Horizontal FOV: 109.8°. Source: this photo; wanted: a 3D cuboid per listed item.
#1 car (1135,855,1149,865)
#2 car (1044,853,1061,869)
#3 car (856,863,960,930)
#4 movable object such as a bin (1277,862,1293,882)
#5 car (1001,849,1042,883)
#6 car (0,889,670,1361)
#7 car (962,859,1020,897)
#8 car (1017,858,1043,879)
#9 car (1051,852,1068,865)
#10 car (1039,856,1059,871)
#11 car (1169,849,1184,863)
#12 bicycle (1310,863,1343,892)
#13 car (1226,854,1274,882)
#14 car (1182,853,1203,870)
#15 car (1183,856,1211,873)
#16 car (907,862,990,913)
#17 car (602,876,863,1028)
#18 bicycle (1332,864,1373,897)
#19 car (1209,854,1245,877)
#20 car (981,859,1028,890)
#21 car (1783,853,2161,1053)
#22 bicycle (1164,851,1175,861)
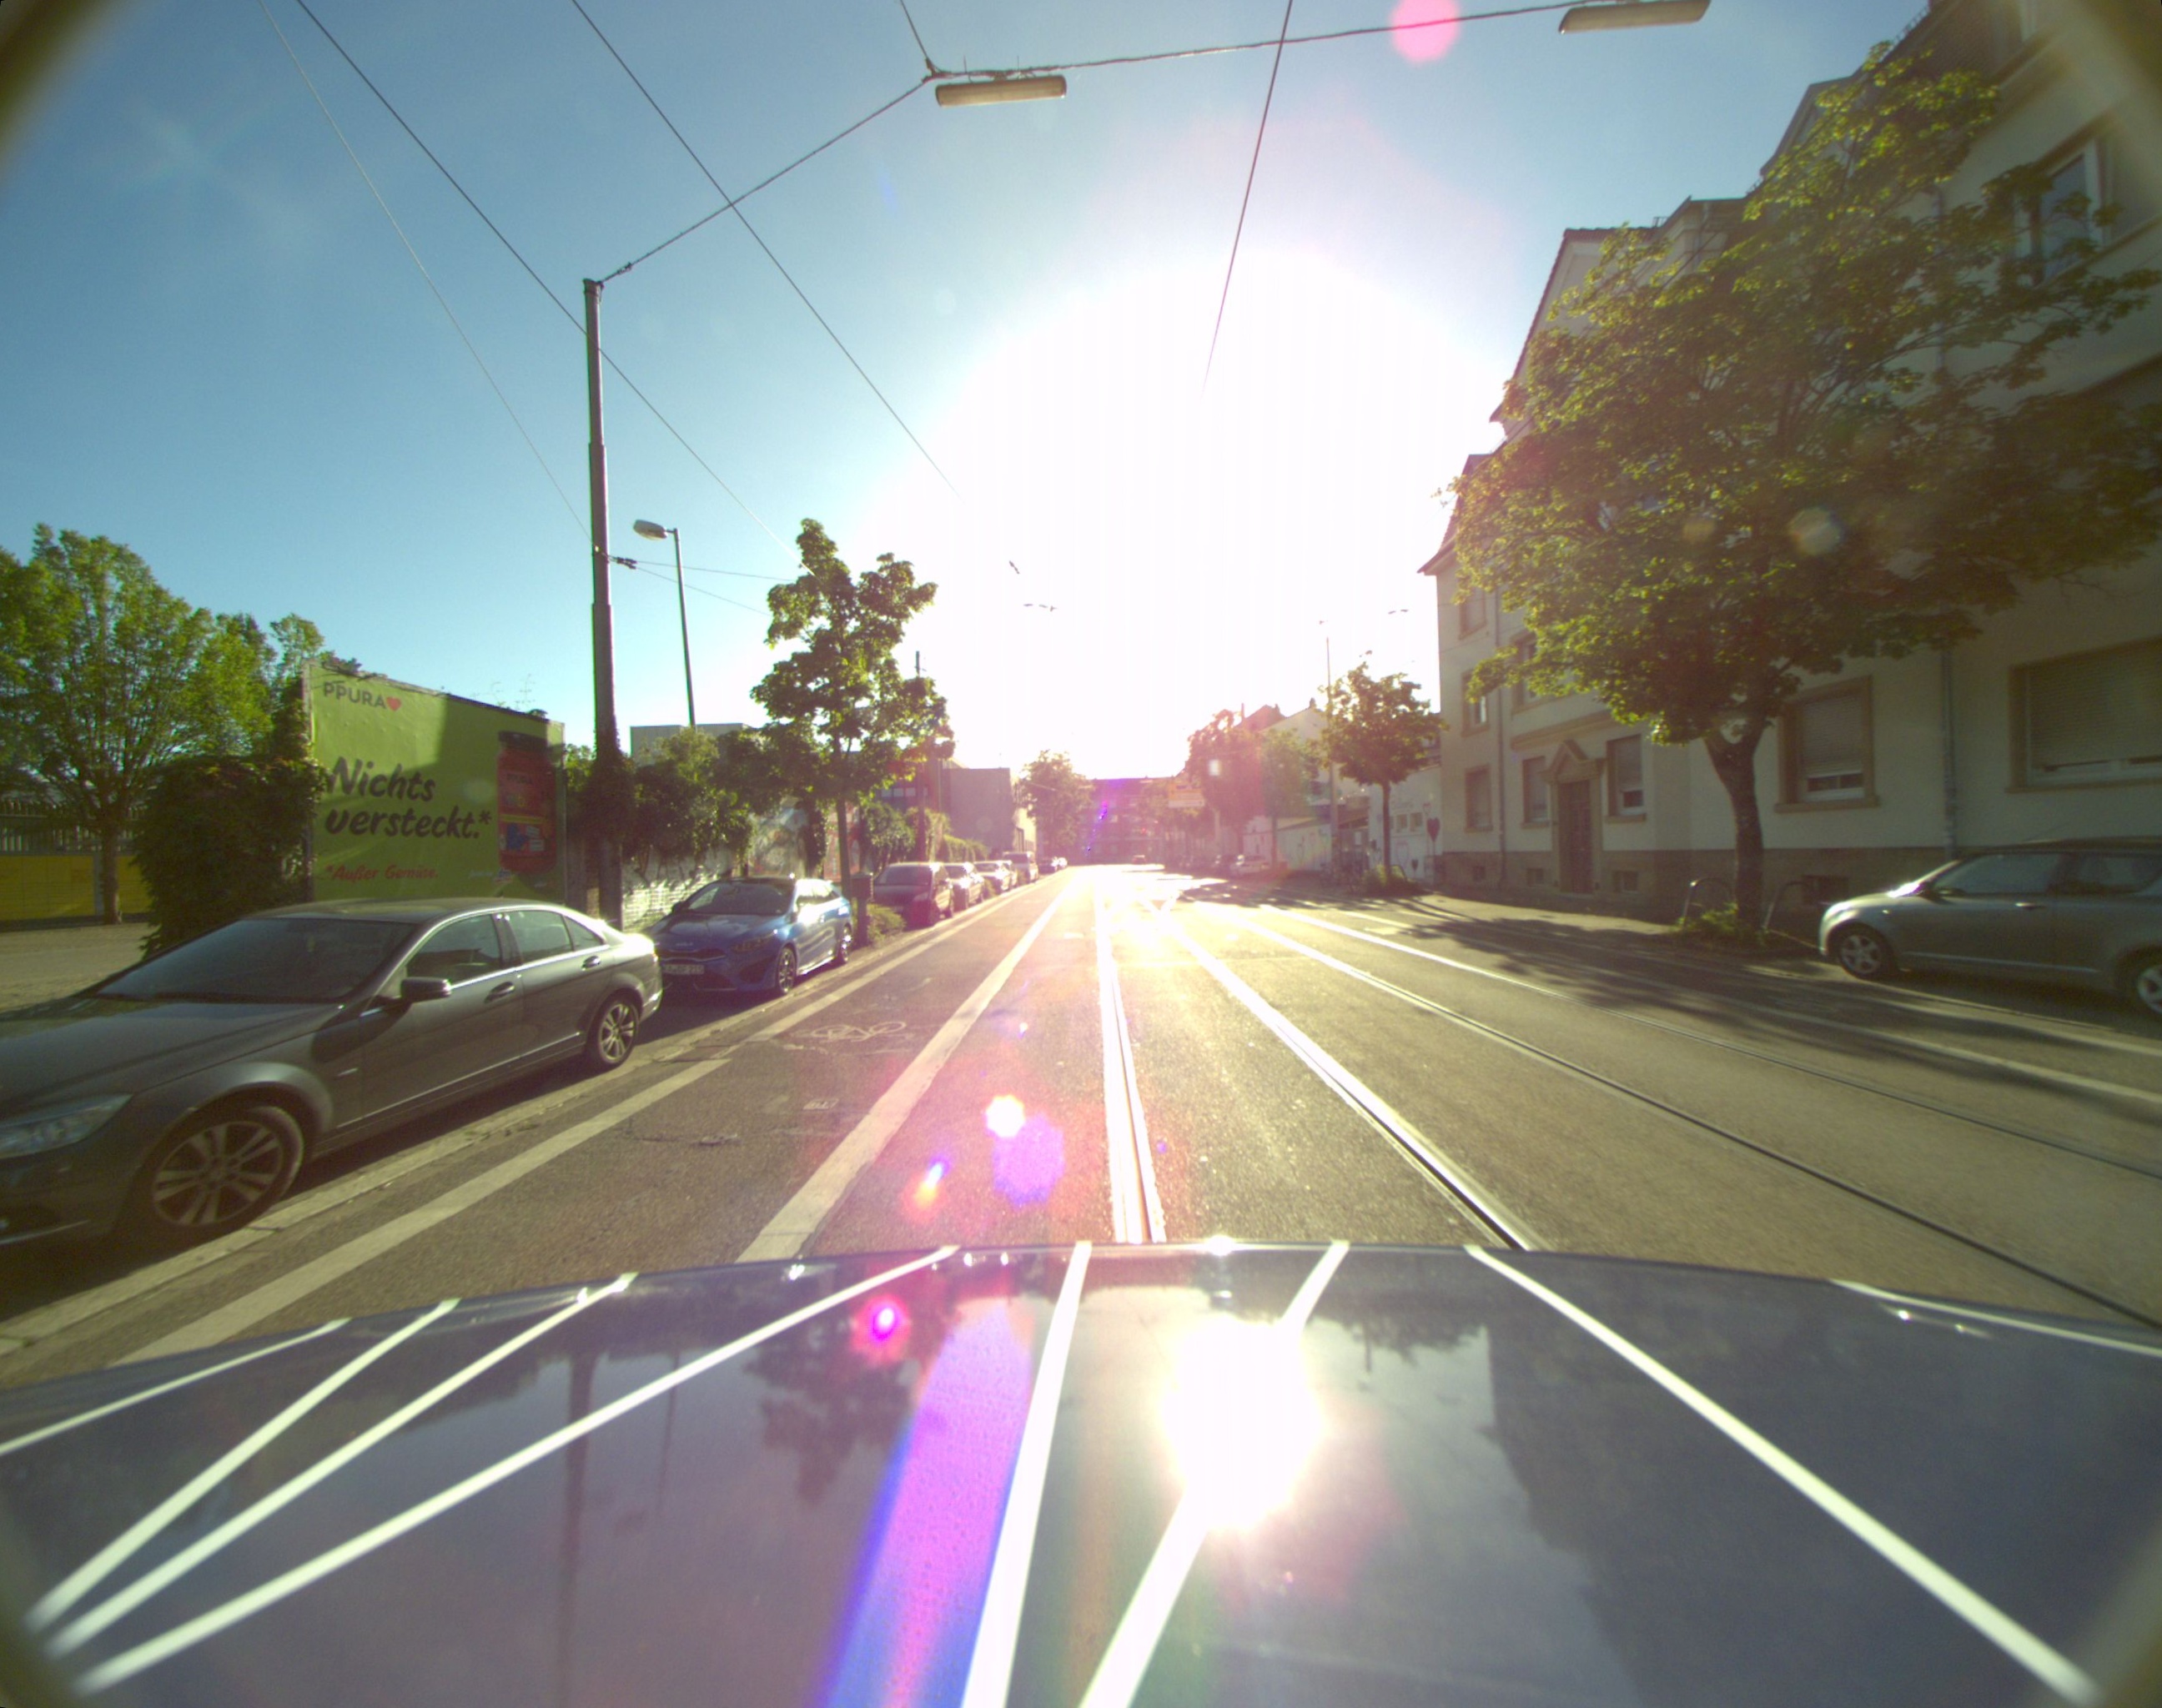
[{"bbox_3d":[9.464,0.920,118.471,1.770,1.455,4.746,-1,0,0],"label":"car"},{"bbox_3d":[-3.116,0.721,84.355,1.746,1.702,4.277,-2,0,-1],"label":"car"},{"bbox_3d":[-4.329,1.020,19.600,1.829,1.484,3.814,0,0,-1],"label":"car"},{"bbox_3d":[10.504,0.925,39.138,0.583,0.954,0.702,-7,1,2],"label":"movable object such as a bin"},{"bbox_3d":[-3.720,0.724,48.065,1.858,1.980,5.242,-1,0,3],"label":"car"},{"bbox_3d":[-4.670,1.097,4.599,1.732,1.455,4.498,-3,0,2],"label":"car"},{"bbox_3d":[-3.988,1.024,34.350,1.828,1.476,4.601,-3,0,2],"label":"car"},{"bbox_3d":[-3.669,1.000,55.200,1.680,1.409,4.502,0,0,-1],"label":"car"},{"bbox_3d":[-2.578,0.593,91.912,1.716,1.481,4.624,-1,-1,1],"label":"car"},{"bbox_3d":[-3.294,0.979,78.436,1.706,1.473,4.658,1,0,1],"label":"car"},{"bbox_3d":[10.858,0.237,86.268,1.358,1.493,2.548,-3,-2,1],"label":"car"},{"bbox_3d":[10.016,0.949,30.941,0.667,1.034,1.790,-2,1,39],"label":"bicycle"},{"bbox_3d":[10.202,0.802,46.166,1.869,1.482,4.661,-3,0,1],"label":"car"},{"bbox_3d":[11.012,0.717,75.093,1.576,1.496,4.000,-3,0,1],"label":"car"},{"bbox_3d":[10.536,0.945,69.197,1.878,1.420,4.293,-3,0,1],"label":"car"},{"bbox_3d":[-4.350,1.070,25.736,1.828,1.443,4.642,-1,0,2],"label":"car"},{"bbox_3d":[-4.471,1.146,10.582,1.732,1.455,4.339,-3,0,-3],"label":"car"},{"bbox_3d":[9.753,0.932,27.214,1.991,1.034,0.531,-3,1,-44],"label":"bicycle"},{"bbox_3d":[10.362,0.805,54.085,1.777,1.477,4.305,-3,0,1],"label":"car"},{"bbox_3d":[-4.074,1.058,41.062,1.877,1.464,4.076,-3,0,3],"label":"car"},{"bbox_3d":[9.370,0.785,7.261,1.655,1.482,4.000,-3,0,2],"label":"car"},{"bbox_3d":[10.946,0.211,93.957,1.344,1.162,0.409,-3,1,2],"label":"bicycle"}]
